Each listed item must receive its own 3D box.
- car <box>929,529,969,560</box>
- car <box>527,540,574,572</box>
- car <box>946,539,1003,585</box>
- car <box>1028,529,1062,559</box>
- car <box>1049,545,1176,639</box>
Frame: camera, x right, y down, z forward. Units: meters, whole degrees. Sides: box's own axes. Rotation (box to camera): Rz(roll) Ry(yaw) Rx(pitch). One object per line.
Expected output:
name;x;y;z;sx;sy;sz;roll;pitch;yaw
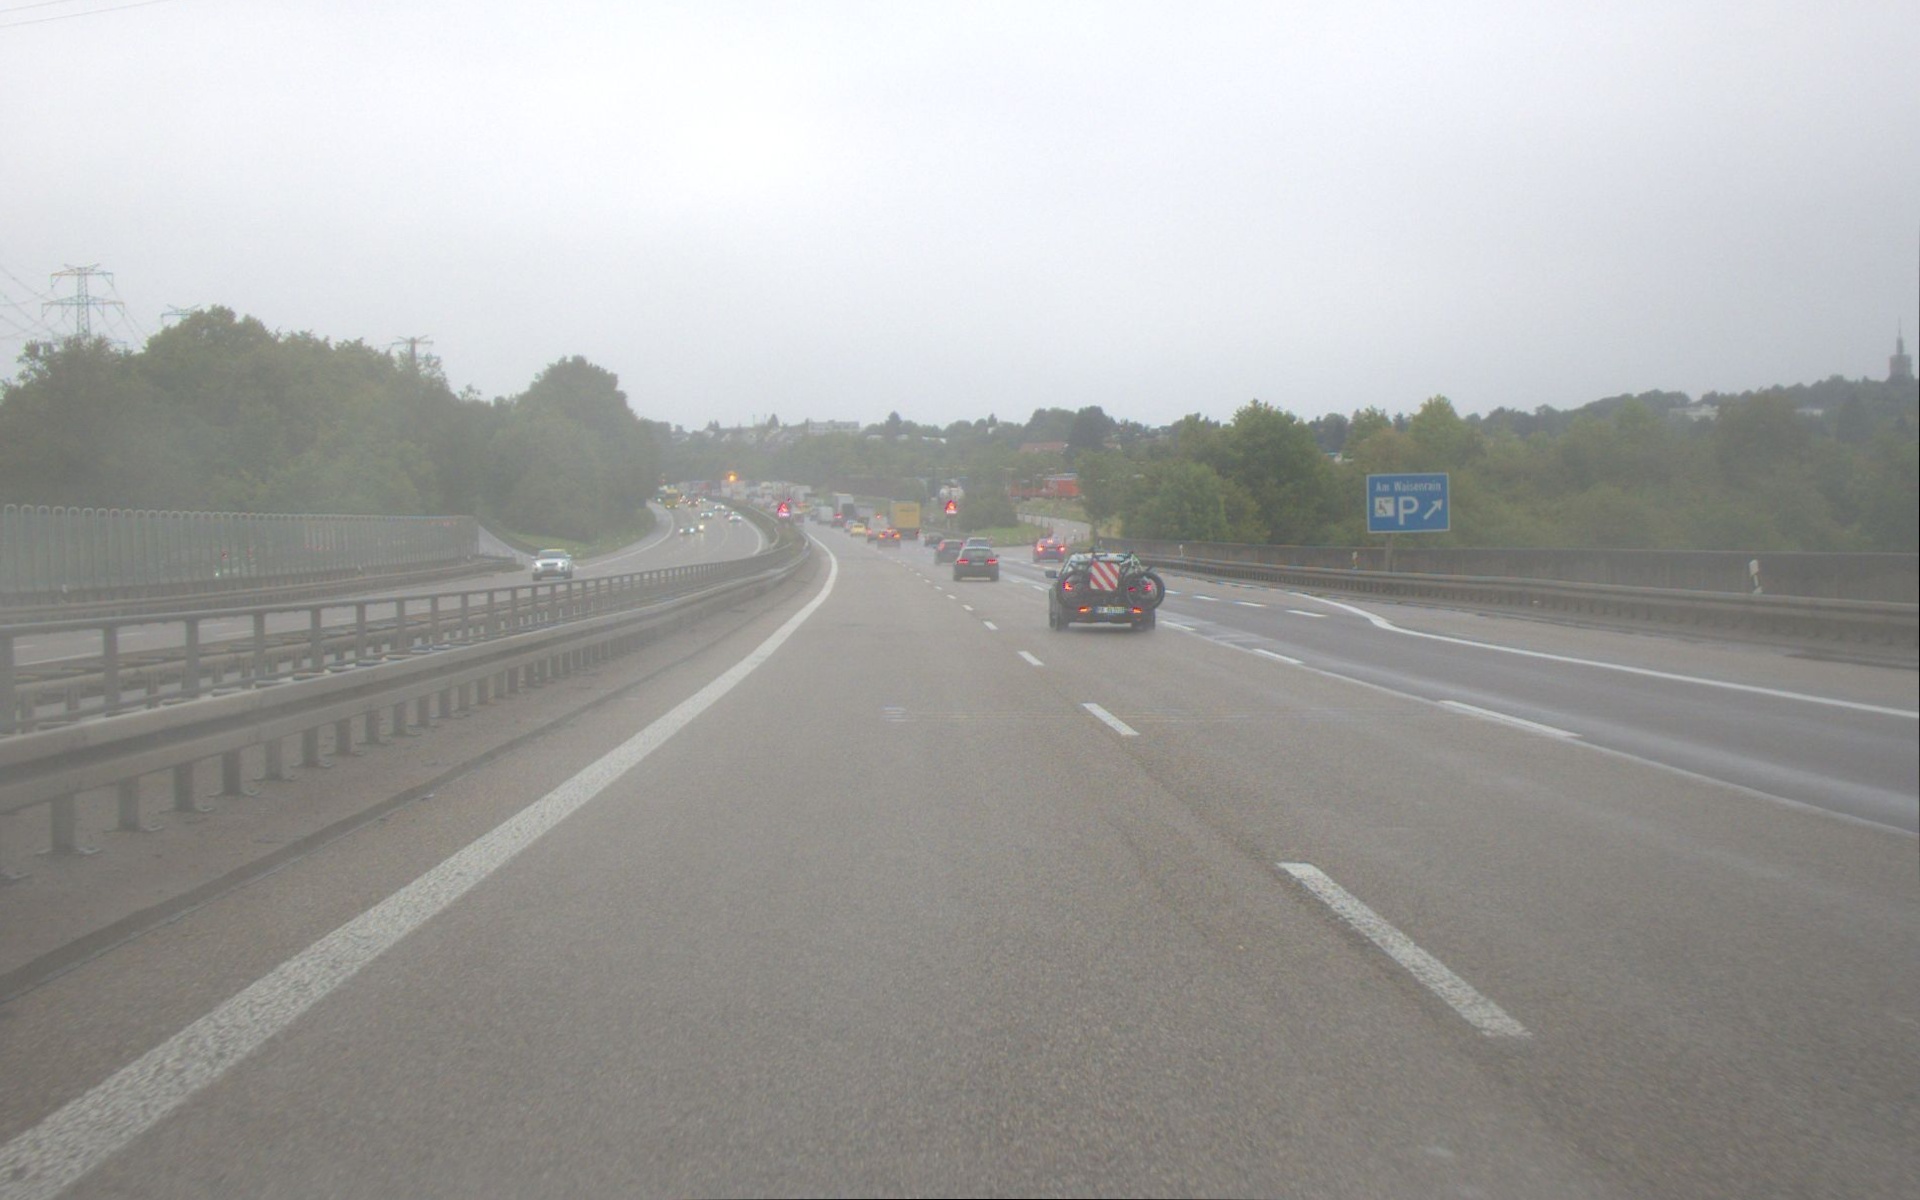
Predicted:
car;-0.657;-3.209;198.410;1.993;1.623;4.001;-2;2;-4
car;-21.563;-2.351;181.211;1.993;1.624;4.714;-1;1;-2
car;0.577;-1.594;141.375;1.993;1.755;4.001;-2;2;-4
car;5.217;-3.430;210.897;1.922;1.703;4.000;-1;2;3
car;2.796;-0.184;64.013;2.057;1.665;5.522;0;1;-1
